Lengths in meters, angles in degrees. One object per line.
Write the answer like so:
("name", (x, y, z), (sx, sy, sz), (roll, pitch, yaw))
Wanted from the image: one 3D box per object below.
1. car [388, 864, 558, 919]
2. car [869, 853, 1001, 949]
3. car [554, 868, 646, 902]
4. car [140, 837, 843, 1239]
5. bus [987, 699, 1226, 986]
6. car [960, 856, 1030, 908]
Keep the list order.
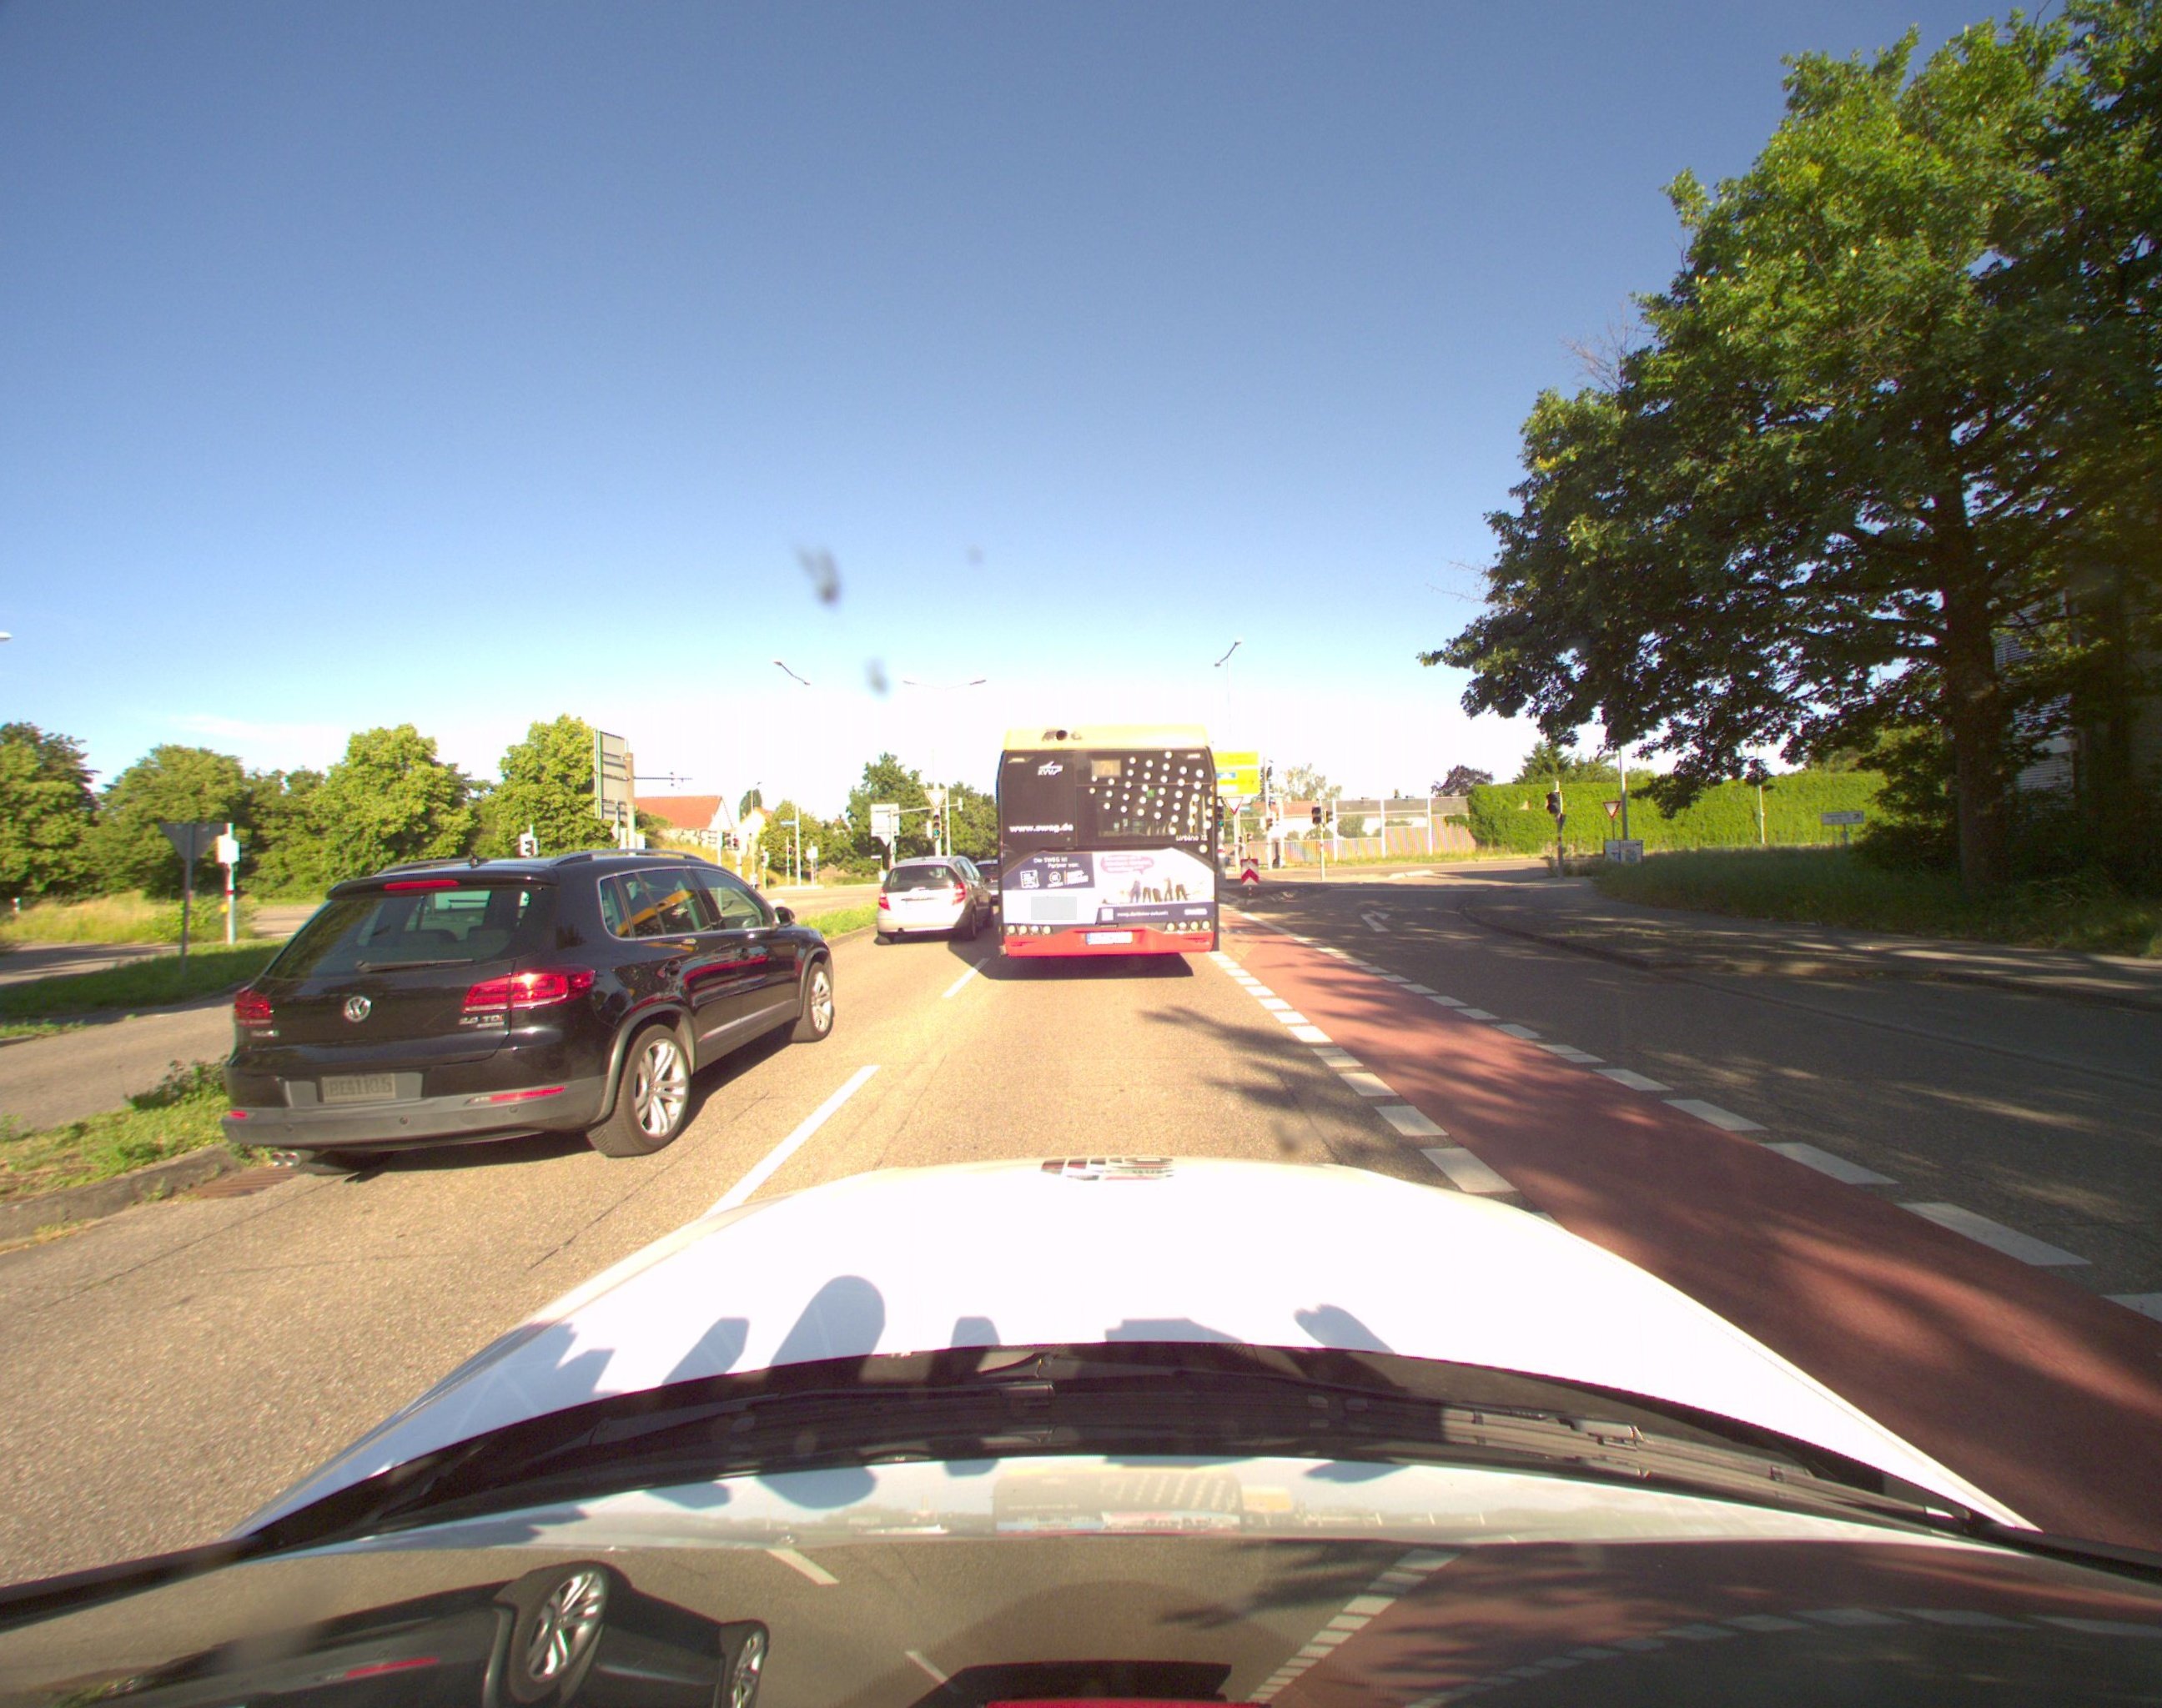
("car", (-25.633, 1.539, 34.511), (5.375, 2.118, 2.178), (-1, -1, -4))
("car", (-2.780, 0.830, 16.363), (1.755, 1.589, 4.001), (-3, 0, 1))
("car", (-24.572, 1.548, 41.683), (3.577, 1.560, 1.747), (-2, 0, -5))
("car", (-3.167, 0.807, 5.565), (1.766, 1.653, 4.000), (-3, 0, 1))
("bus", (0.521, -0.156, 15.059), (2.632, 3.167, 11.867), (-1, 0, 2))
("car", (-2.682, 0.836, 26.197), (1.686, 1.458, 3.751), (-3, 0, 1))
